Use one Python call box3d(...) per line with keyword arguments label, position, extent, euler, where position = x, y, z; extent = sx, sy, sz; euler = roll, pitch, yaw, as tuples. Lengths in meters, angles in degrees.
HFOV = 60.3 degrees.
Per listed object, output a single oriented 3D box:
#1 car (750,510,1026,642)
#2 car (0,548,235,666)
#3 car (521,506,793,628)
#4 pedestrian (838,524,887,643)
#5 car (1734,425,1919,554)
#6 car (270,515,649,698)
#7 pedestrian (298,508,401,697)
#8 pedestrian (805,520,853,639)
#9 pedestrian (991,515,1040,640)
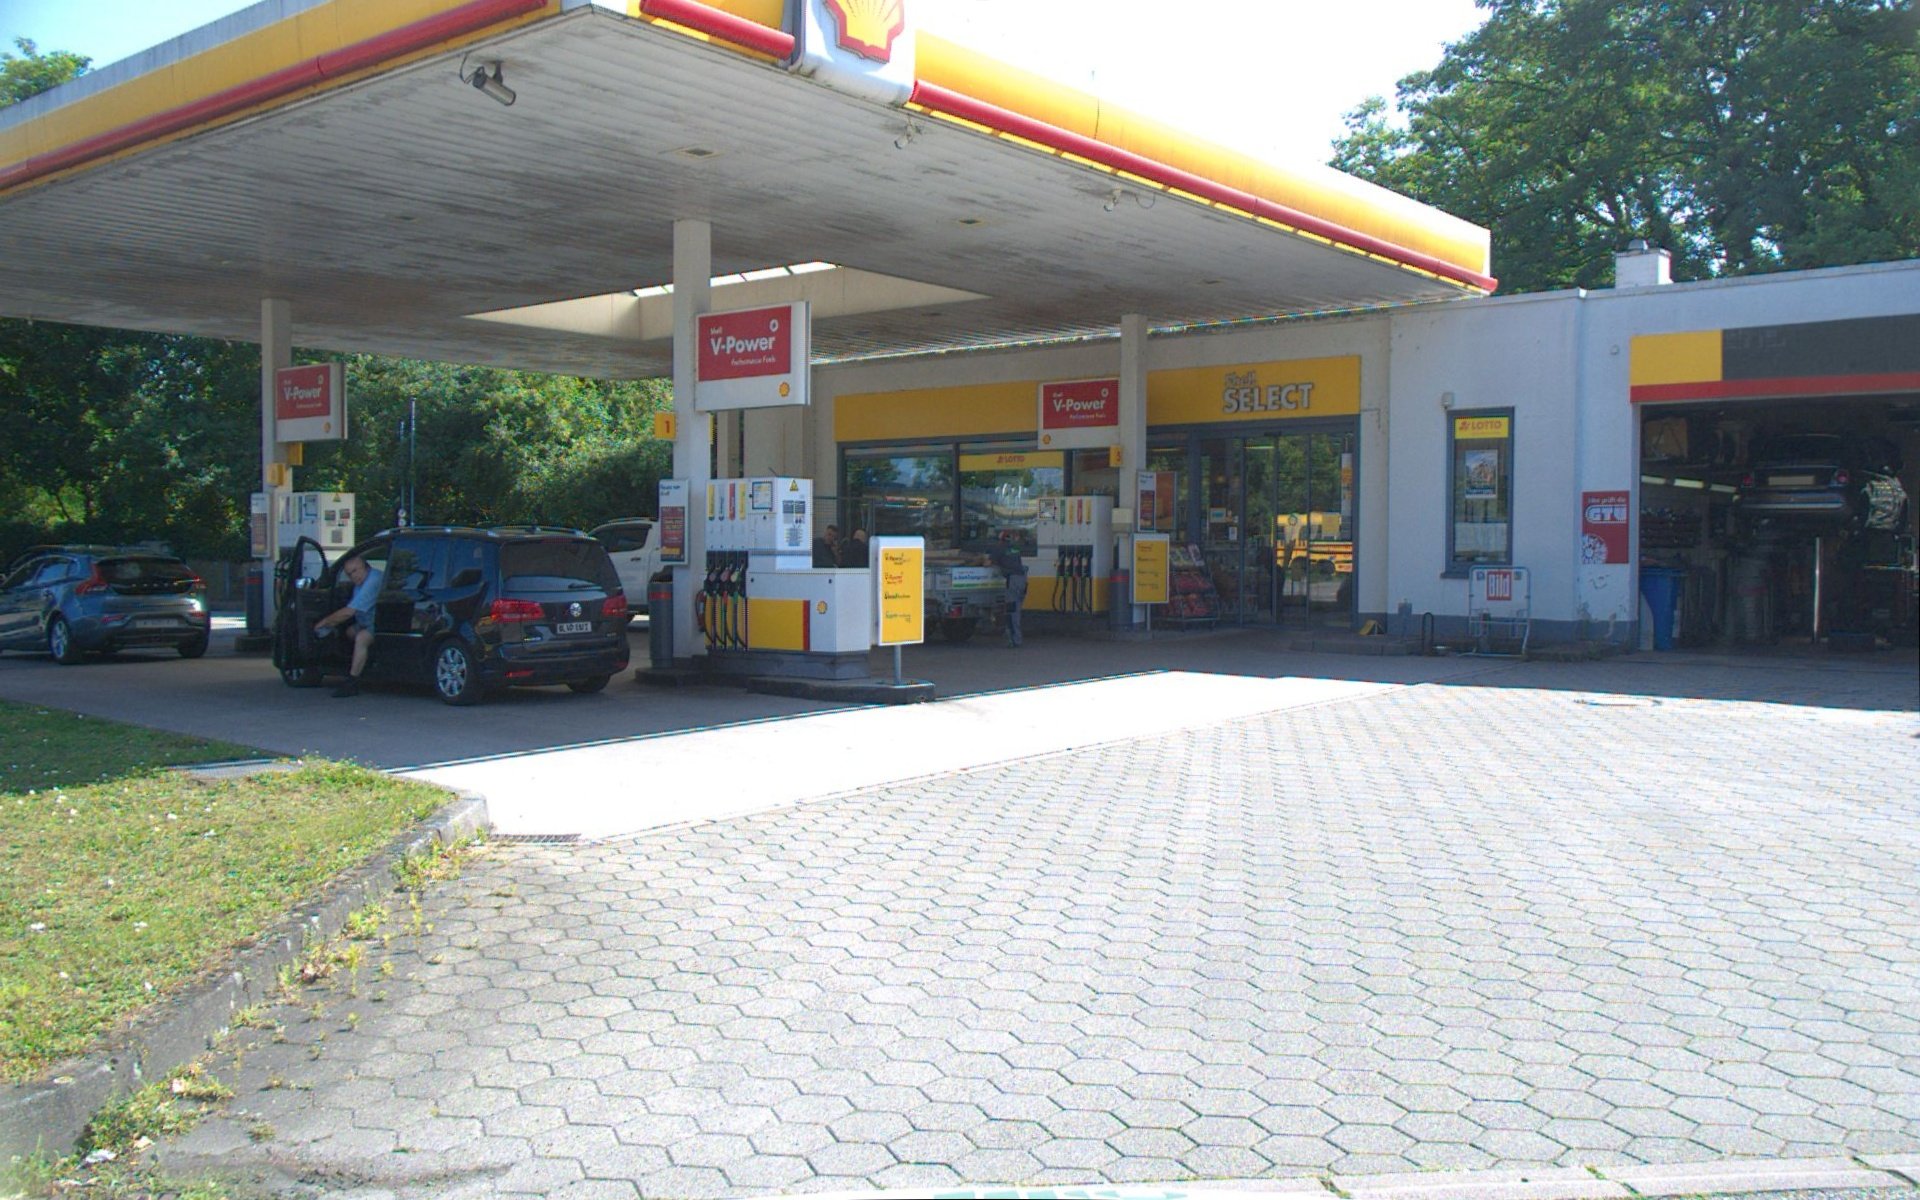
box3d(label="car", position=(-1.106, -0.364, 24.054), extent=(3.931, 1.758, 1.822), euler=(1, 2, 44))
box3d(label="car", position=(-11.132, 0.027, 21.476), extent=(3.781, 1.384, 1.792), euler=(2, 2, 43))
box3d(label="car", position=(-5.110, -0.571, 27.555), extent=(4.689, 1.869, 1.849), euler=(1, 2, 38))
box3d(label="pedestrian", position=(-1.354, -0.231, 22.903), extent=(0.467, 1.621, 0.497), euler=(1, 2, 43))
box3d(label="car", position=(12.391, -1.484, 23.360), extent=(1.622, 1.512, 3.977), euler=(1, 0, 41))
box3d(label="car", position=(-5.010, -0.002, 16.385), extent=(3.803, 1.606, 1.757), euler=(1, 2, 38))
box3d(label="pedestrian", position=(-5.853, 0.010, 15.855), extent=(0.669, 1.759, 0.799), euler=(-1, 2, -44))
box3d(label="pedestrian", position=(-1.863, -0.294, 23.513), extent=(0.467, 1.660, 0.497), euler=(1, 2, 43))
box3d(label="pedestrian", position=(0.770, -0.317, 22.811), extent=(0.492, 1.697, 0.473), euler=(1, 2, 41))
